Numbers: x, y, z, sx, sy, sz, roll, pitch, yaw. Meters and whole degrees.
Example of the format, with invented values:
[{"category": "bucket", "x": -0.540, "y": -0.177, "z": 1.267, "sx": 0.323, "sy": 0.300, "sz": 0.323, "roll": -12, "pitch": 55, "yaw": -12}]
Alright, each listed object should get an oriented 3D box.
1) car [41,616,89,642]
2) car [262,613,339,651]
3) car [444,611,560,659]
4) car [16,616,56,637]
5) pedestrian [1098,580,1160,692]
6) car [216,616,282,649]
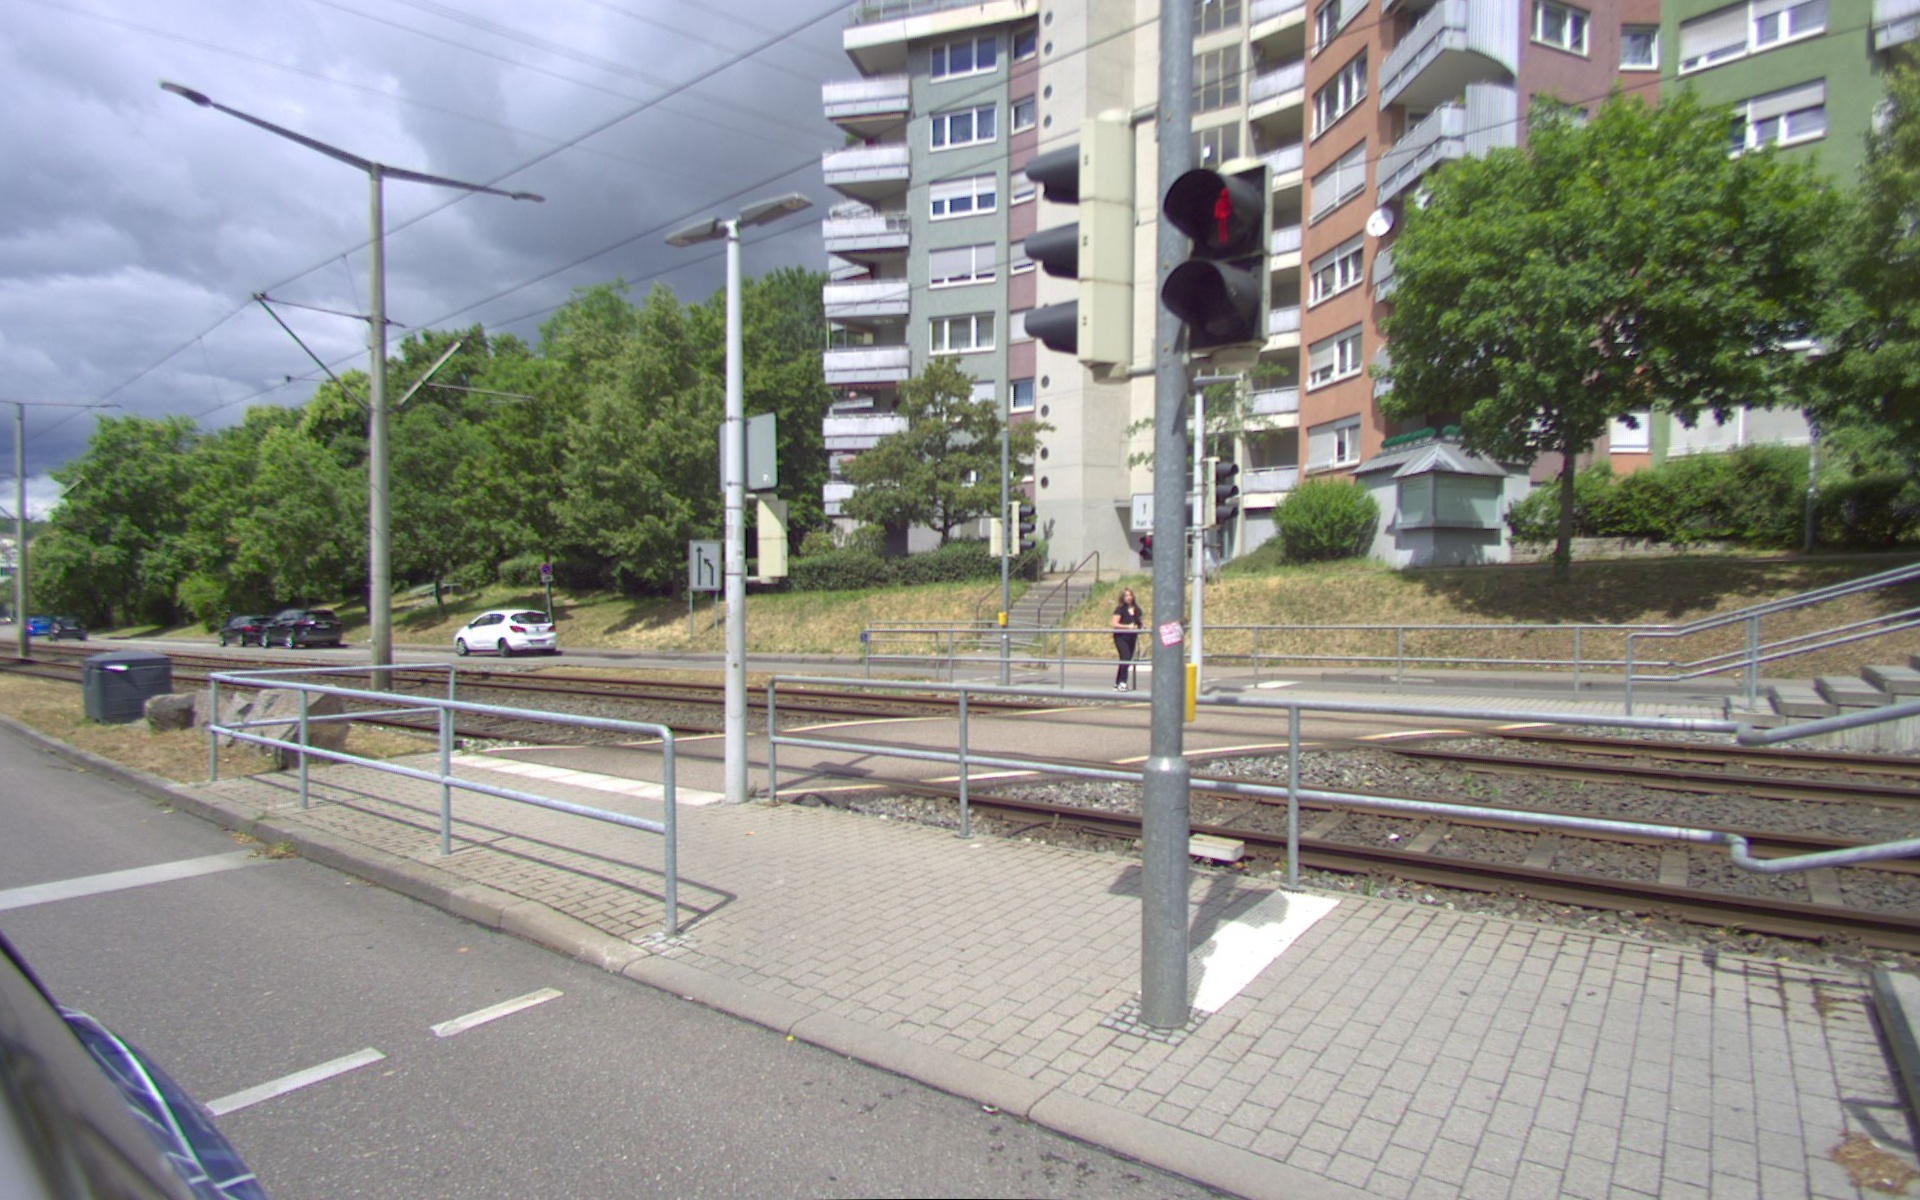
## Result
[{"category": "car", "x": -56.112, "y": 1.812, "z": 63.441, "sx": 3.733, "sy": 1.524, "sz": 1.638, "roll": -1, "pitch": -1, "yaw": 39}, {"category": "car", "x": -27.976, "y": 1.359, "z": 42.895, "sx": 3.733, "sy": 1.524, "sz": 1.638, "roll": -1, "pitch": -1, "yaw": 39}, {"category": "car", "x": -14.777, "y": 1.106, "z": 32.588, "sx": 3.991, "sy": 1.429, "sz": 1.640, "roll": -1, "pitch": -1, "yaw": 35}, {"category": "car", "x": -67.687, "y": 1.962, "z": 74.101, "sx": 3.733, "sy": 1.466, "sz": 1.616, "roll": -1, "pitch": -1, "yaw": 39}, {"category": "pedestrian", "x": 2.480, "y": 0.516, "z": 14.953, "sx": 0.681, "sy": 1.575, "sz": 0.825, "roll": -2, "pitch": 0, "yaw": -4}, {"category": "car", "x": -32.908, "y": 1.506, "z": 46.821, "sx": 3.465, "sy": 1.451, "sz": 1.586, "roll": -2, "pitch": -1, "yaw": 39}]
